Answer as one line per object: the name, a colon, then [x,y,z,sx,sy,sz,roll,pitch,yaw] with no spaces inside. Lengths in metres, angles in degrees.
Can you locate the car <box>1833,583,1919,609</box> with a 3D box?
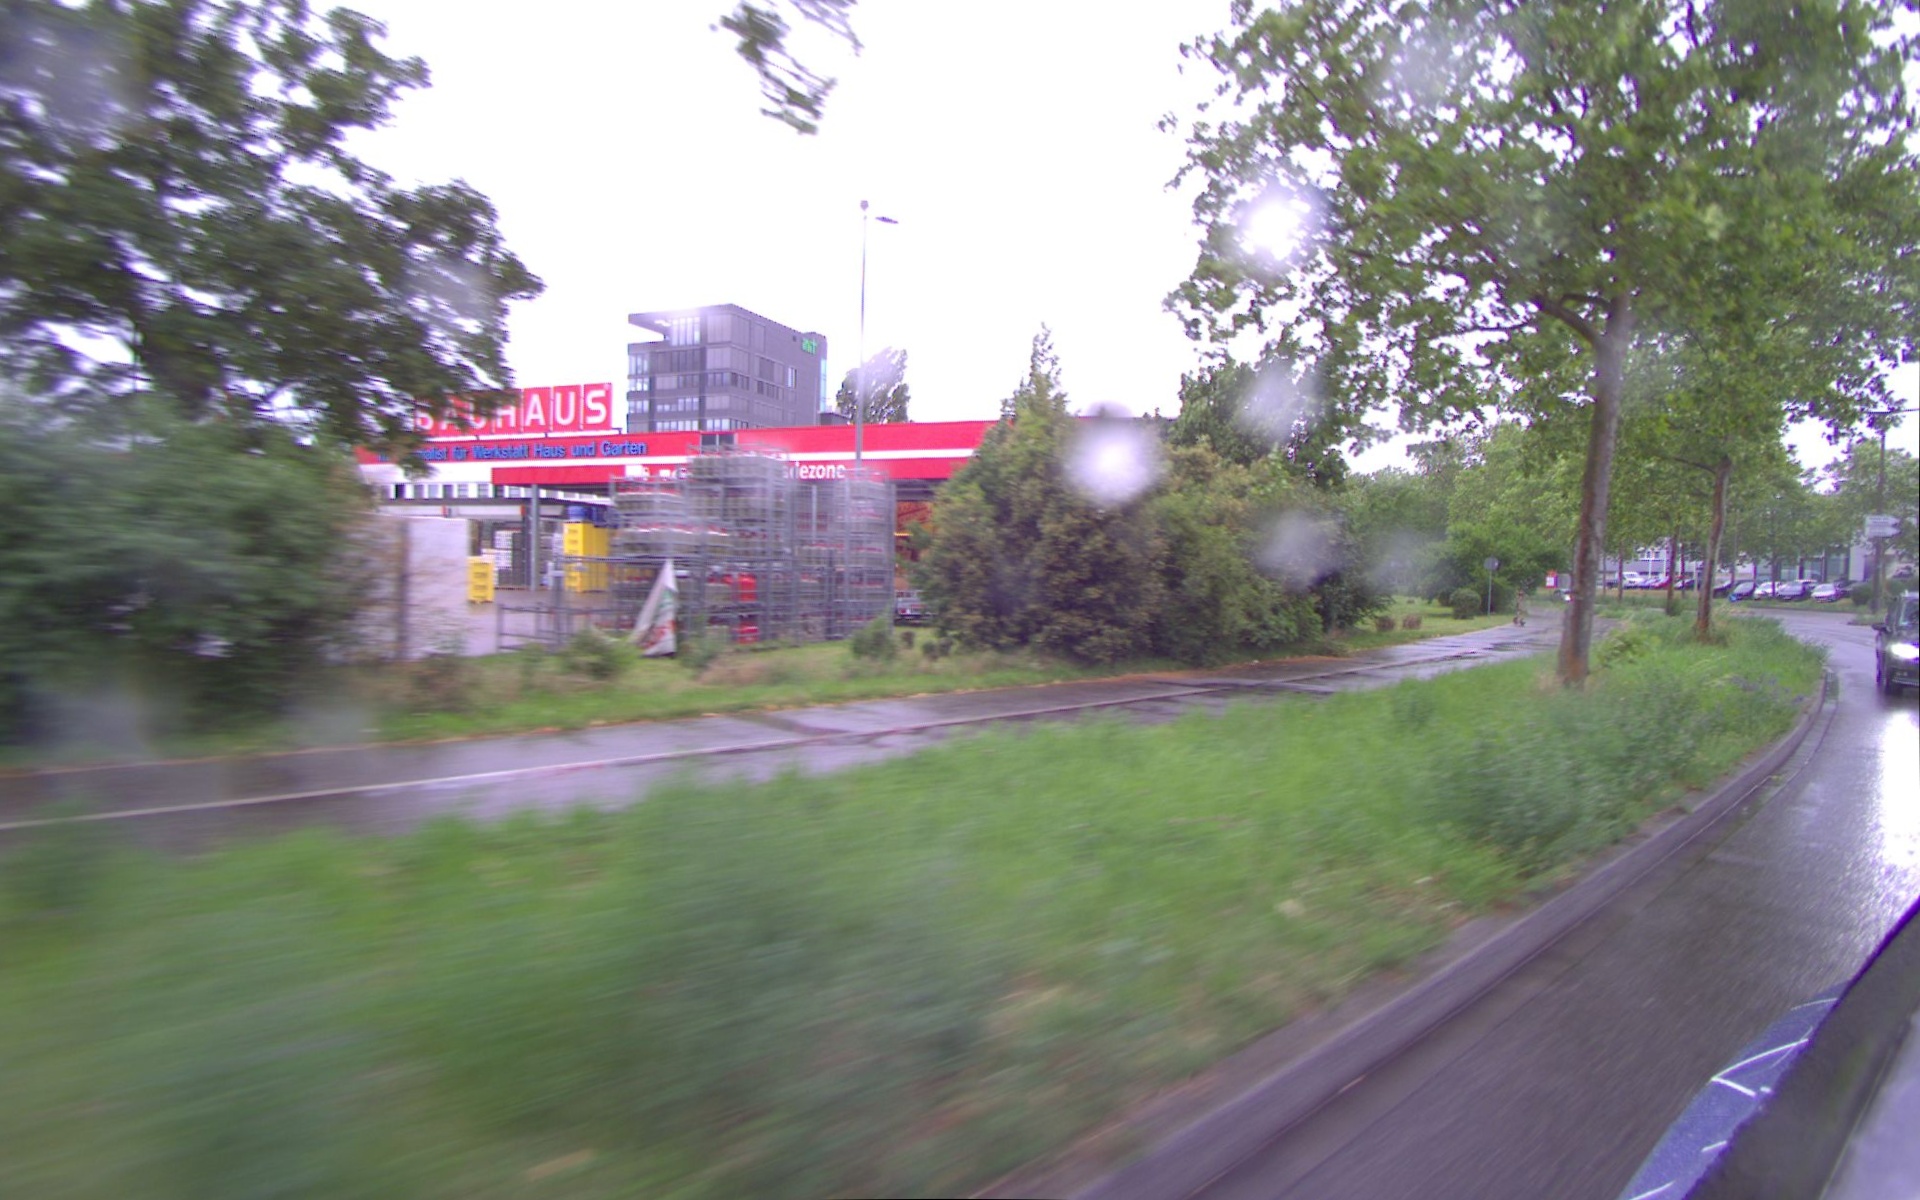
car: [62.334,-0.281,68.905,3.932,1.680,1.861,0,1,8]

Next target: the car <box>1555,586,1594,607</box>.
car: [52.721,-0.320,86.867,1.974,1.671,3.976,1,1,19]

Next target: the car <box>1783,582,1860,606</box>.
car: [64.239,-0.448,75.515,3.932,1.680,1.861,0,1,8]

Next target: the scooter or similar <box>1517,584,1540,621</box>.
scooter or similar: [20.290,0.081,36.127,0.445,1.290,1.590,1,1,21]

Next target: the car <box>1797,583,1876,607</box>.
car: [63.554,-0.404,73.441,3.932,1.680,1.861,0,1,8]

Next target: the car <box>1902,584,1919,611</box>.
car: [61.471,-0.164,62.889,3.932,1.680,1.861,0,1,8]

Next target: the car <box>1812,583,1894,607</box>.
car: [62.858,-0.358,71.264,3.932,1.680,1.861,0,1,8]

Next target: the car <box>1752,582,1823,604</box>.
car: [65.333,-0.538,79.928,3.932,1.680,1.861,0,1,8]

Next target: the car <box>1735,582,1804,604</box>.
car: [65.519,-0.577,81.974,3.932,1.680,1.861,0,1,8]

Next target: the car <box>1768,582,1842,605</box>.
car: [64.865,-0.493,77.697,3.932,1.680,1.861,0,1,8]

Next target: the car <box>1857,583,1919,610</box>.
car: [62.120,-0.241,66.775,3.932,1.680,1.861,0,1,8]

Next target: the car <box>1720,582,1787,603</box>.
car: [65.718,-0.613,83.876,3.932,1.680,1.861,0,1,8]

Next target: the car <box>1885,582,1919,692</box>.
car: [16.325,0.528,16.418,1.782,1.635,4.647,0,0,41]
